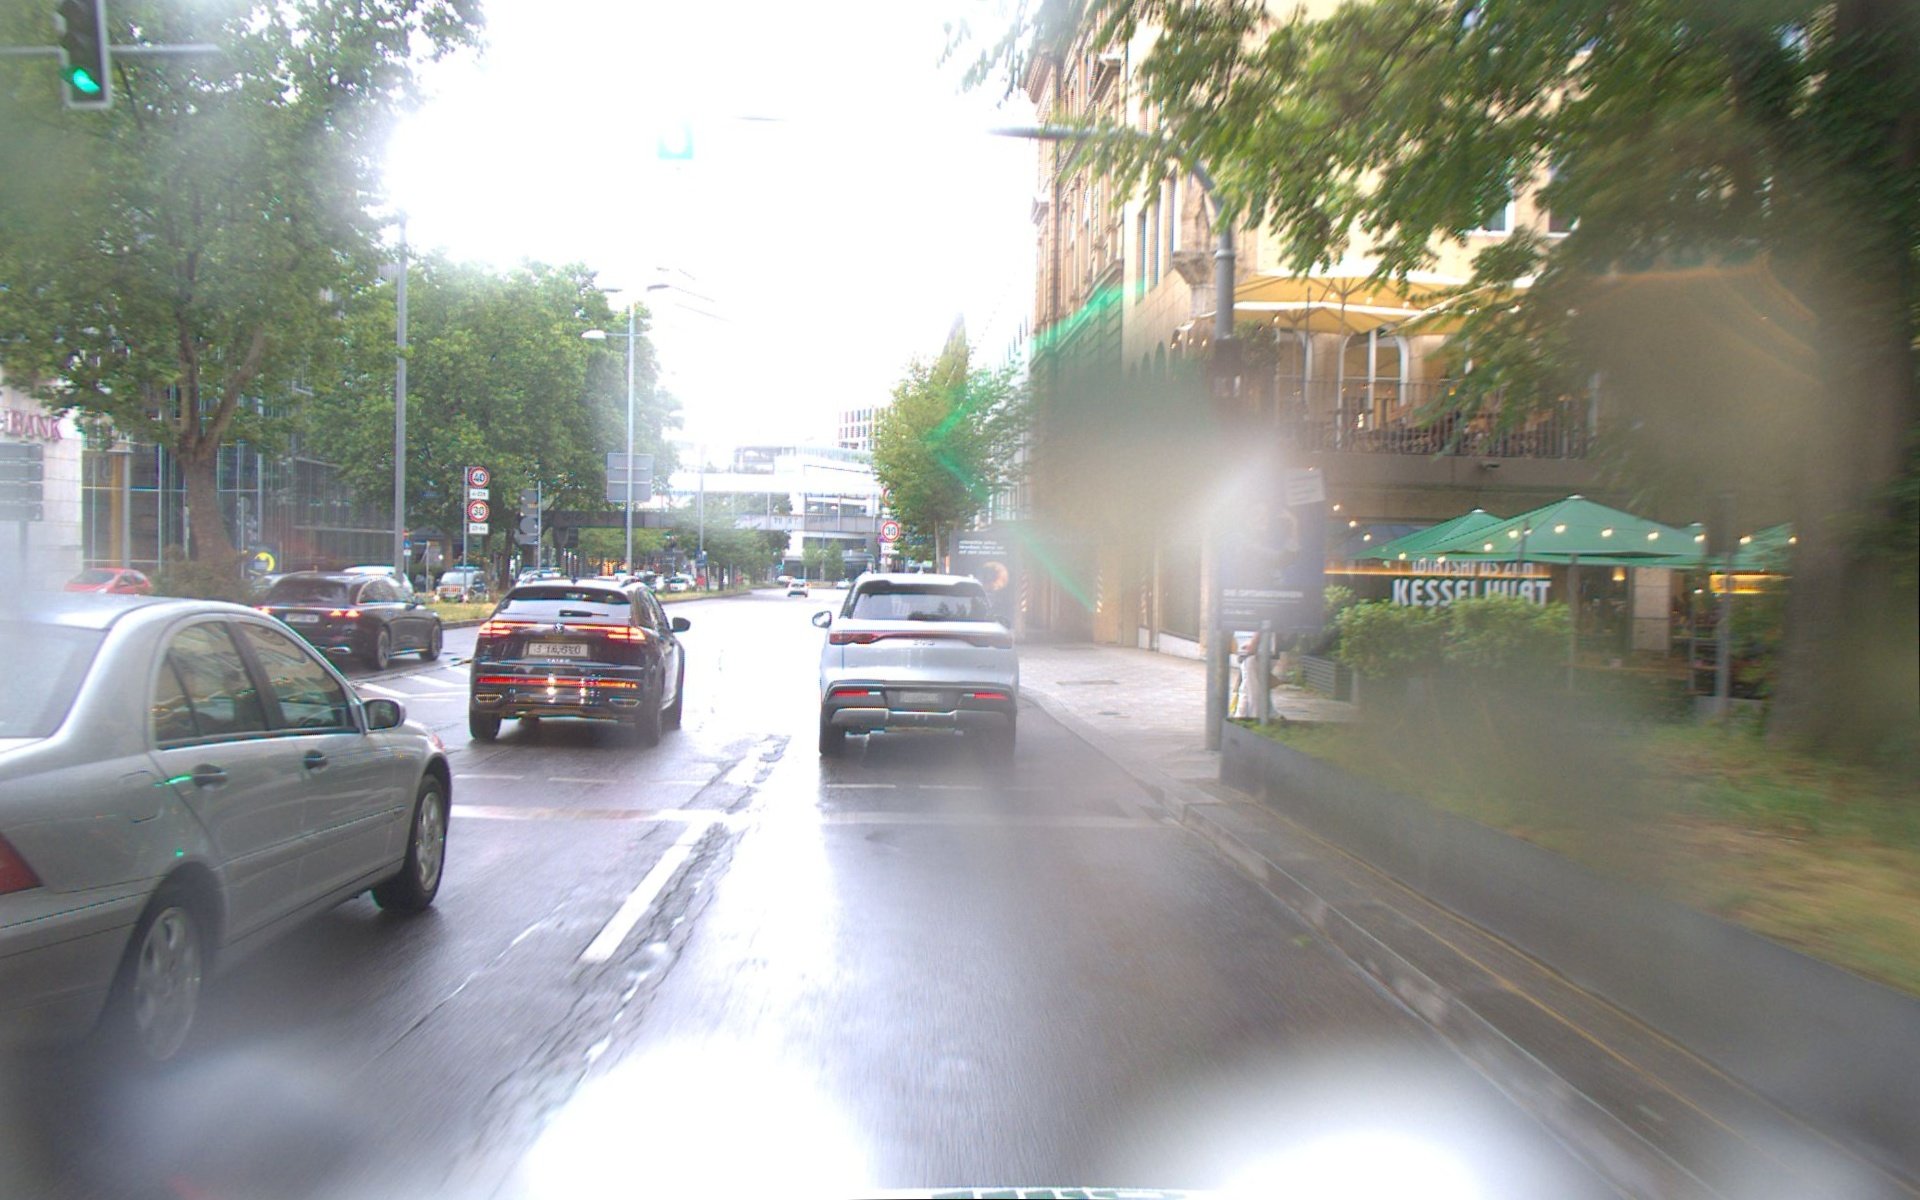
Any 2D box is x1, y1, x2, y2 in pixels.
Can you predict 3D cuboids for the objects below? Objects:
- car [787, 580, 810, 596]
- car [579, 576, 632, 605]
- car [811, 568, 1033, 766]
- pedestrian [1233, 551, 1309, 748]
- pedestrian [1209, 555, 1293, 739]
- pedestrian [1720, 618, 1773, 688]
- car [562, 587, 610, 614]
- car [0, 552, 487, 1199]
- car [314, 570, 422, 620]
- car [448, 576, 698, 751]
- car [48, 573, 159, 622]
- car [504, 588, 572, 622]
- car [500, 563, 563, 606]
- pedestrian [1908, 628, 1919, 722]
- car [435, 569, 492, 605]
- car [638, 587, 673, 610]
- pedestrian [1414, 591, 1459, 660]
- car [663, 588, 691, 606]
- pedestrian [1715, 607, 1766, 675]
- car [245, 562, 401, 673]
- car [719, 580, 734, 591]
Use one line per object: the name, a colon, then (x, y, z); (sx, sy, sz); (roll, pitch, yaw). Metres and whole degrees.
car: (-13.966, -1.046, 143.091); (1.620, 1.365, 3.999); (2, 0, -2)
car: (-18.612, -0.499, 87.053); (1.822, 1.467, 4.313); (1, 0, 0)
car: (-0.452, 0.575, 16.008); (1.864, 1.650, 3.997); (1, 0, -4)
pedestrian: (3.015, 0.472, 16.063); (0.619, 1.867, 0.563); (1, -1, 1)
pedestrian: (3.022, 0.477, 17.196); (0.583, 1.867, 0.623); (1, -1, -30)
pedestrian: (12.456, 0.833, 26.215); (0.543, 1.074, 0.545); (2, 1, -1)
car: (-21.425, 0.045, 94.870); (1.691, 1.457, 4.395); (1, 0, 0)
car: (-3.103, 0.607, 5.942); (1.639, 1.504, 4.359); (3, 0, -2)
car: (-17.499, -0.143, 49.084); (1.711, 1.388, 4.130); (1, 0, 0)
car: (-3.651, 0.558, 16.252); (1.739, 1.482, 3.997); (1, 0, -4)
car: (-26.297, -0.059, 50.907); (1.559, 1.440, 3.401); (1, 0, 1)
car: (-17.725, 0.218, 69.633); (1.711, 1.388, 3.944); (1, 0, 2)
car: (-21.485, -0.755, 83.081); (1.793, 2.037, 5.104); (1, 0, 0)
pedestrian: (14.178, 1.099, 23.936); (0.634, 1.345, 0.425); (2, 0, -7)
car: (-24.093, -0.600, 80.329); (1.795, 1.668, 4.088); (1, 0, -4)
car: (-20.315, -0.108, 110.550); (1.666, 1.462, 4.579); (1, 0, -3)
pedestrian: (7.702, 0.412, 26.751); (0.543, 1.074, 0.545); (2, 1, -1)
car: (-22.194, -0.201, 129.936); (1.564, 1.384, 4.115); (1, 0, -1)
pedestrian: (12.787, 0.671, 27.113); (0.543, 1.074, 0.545); (2, 1, -1)
car: (-10.035, 0.236, 26.323); (1.781, 1.606, 3.985); (2, 0, -14)
car: (-30.880, -1.871, 218.814); (1.564, 1.384, 4.115); (1, 0, -1)
